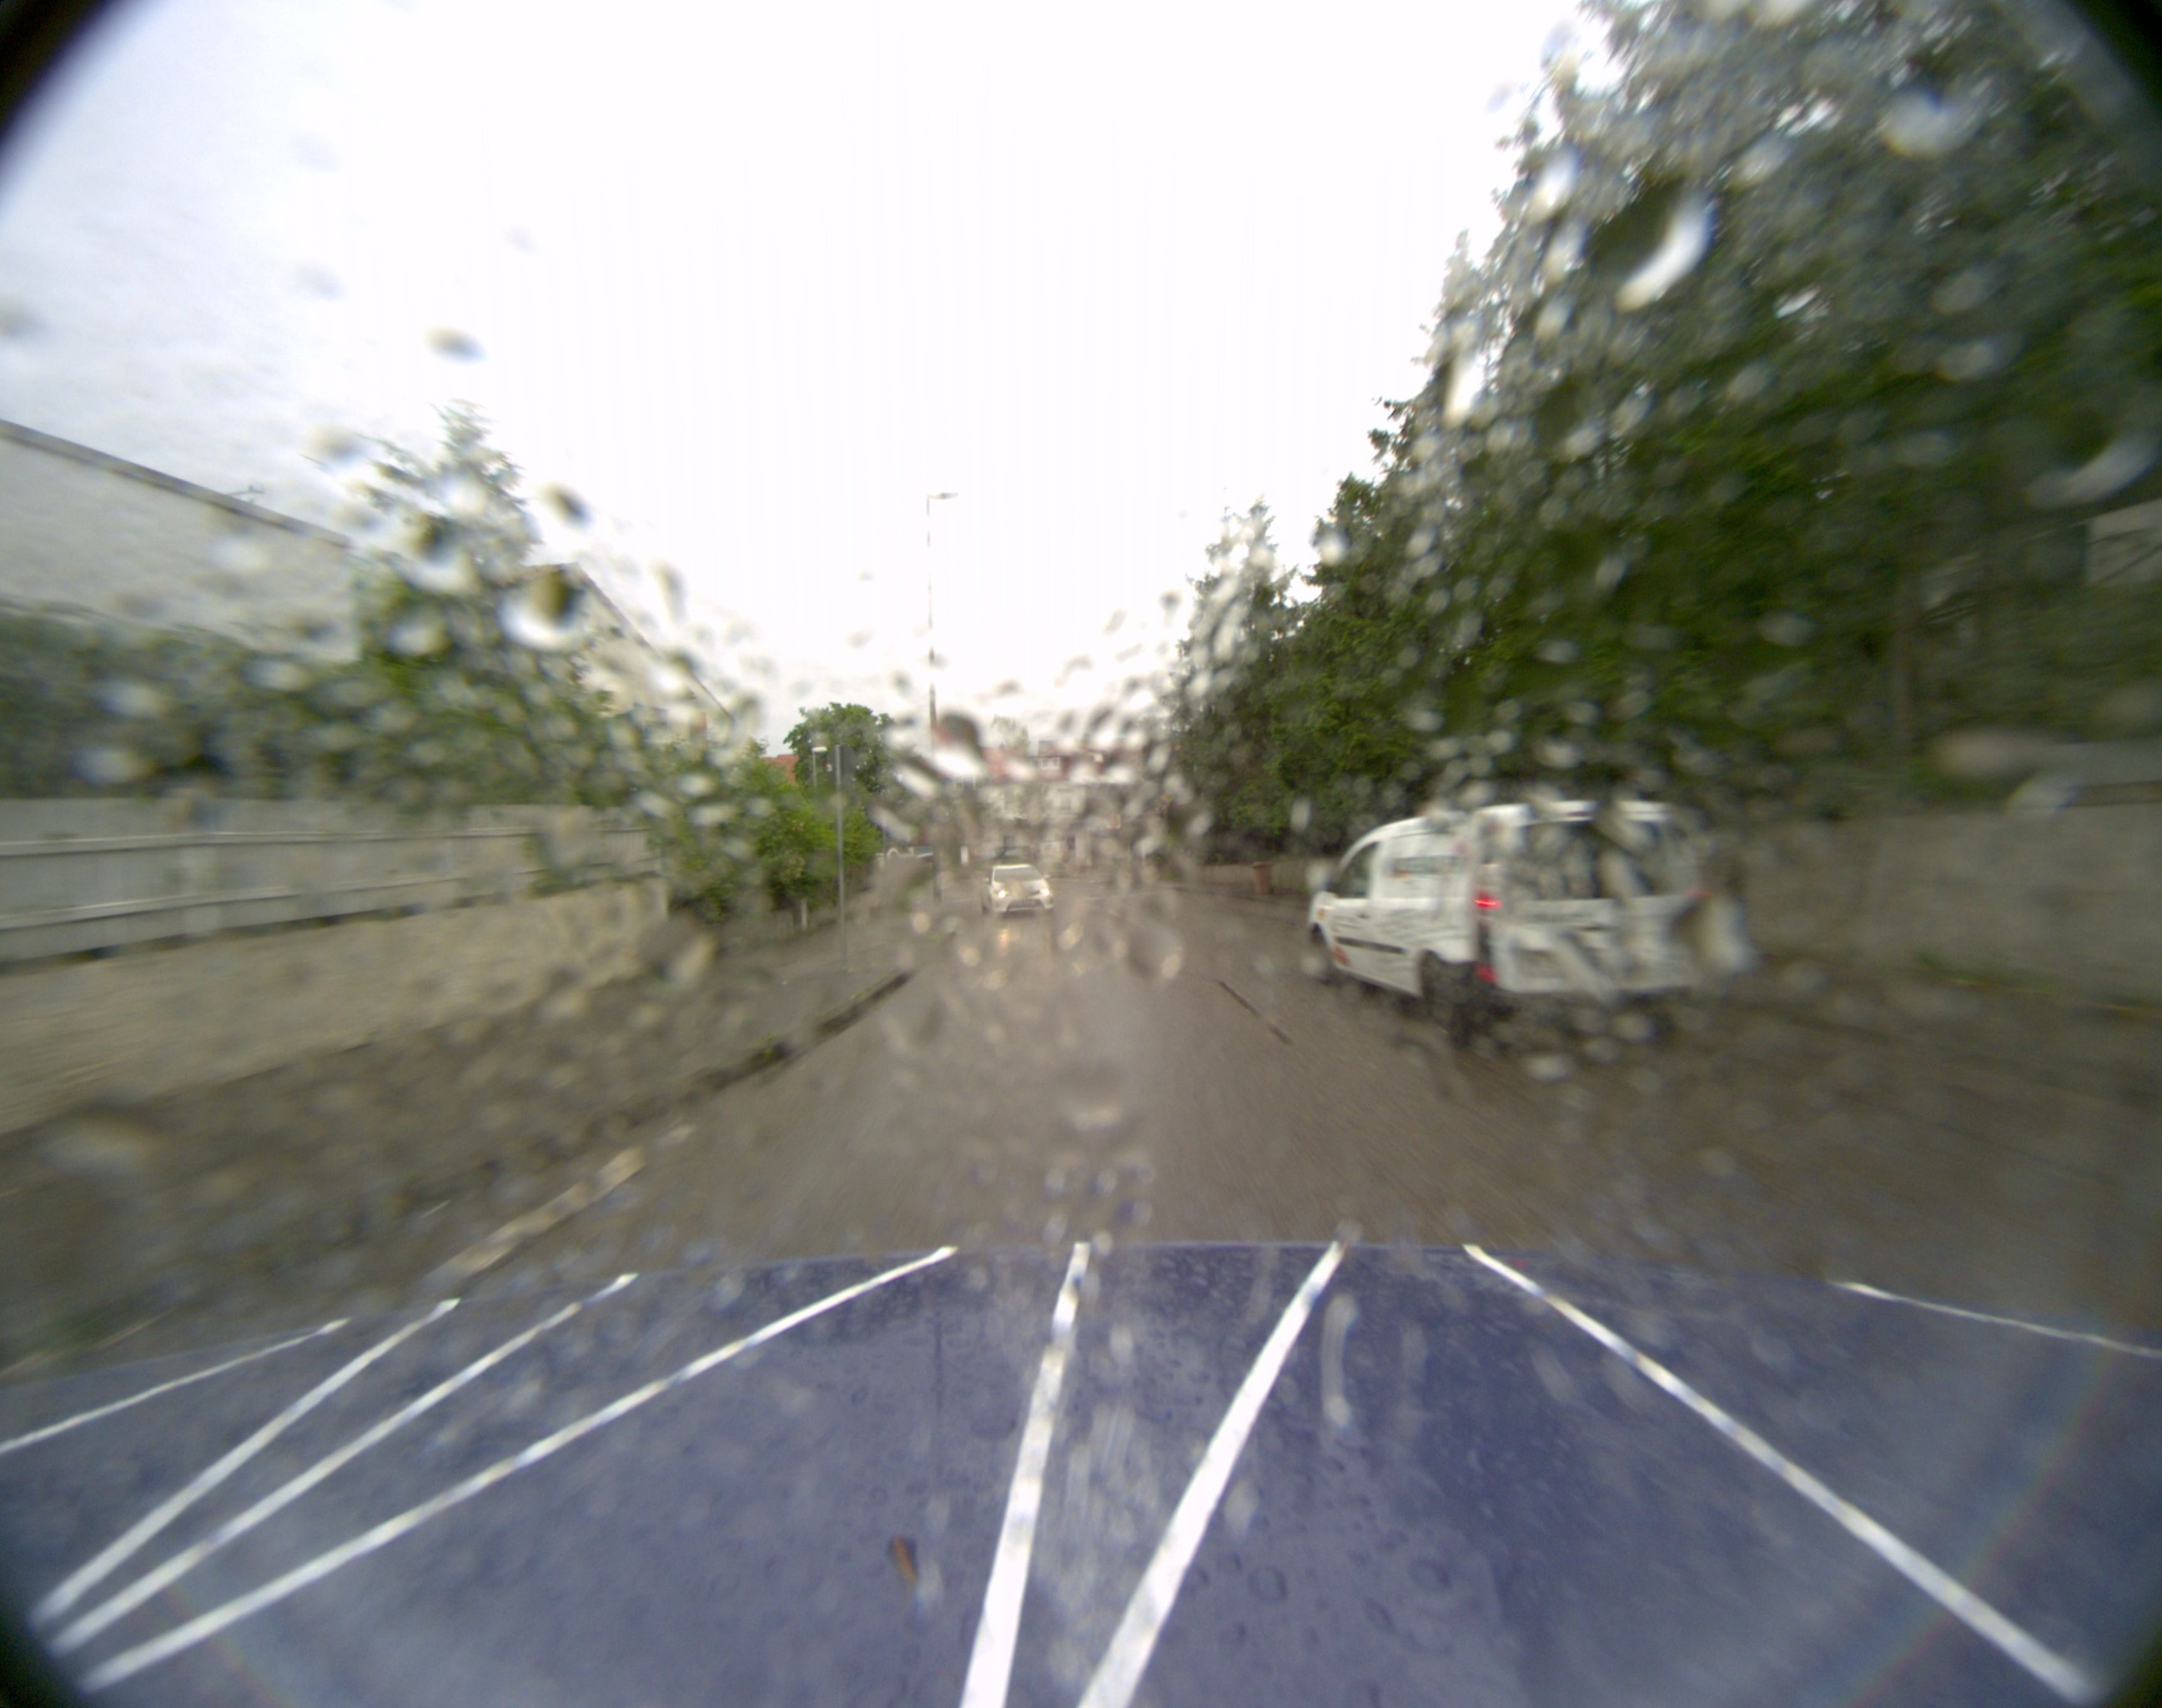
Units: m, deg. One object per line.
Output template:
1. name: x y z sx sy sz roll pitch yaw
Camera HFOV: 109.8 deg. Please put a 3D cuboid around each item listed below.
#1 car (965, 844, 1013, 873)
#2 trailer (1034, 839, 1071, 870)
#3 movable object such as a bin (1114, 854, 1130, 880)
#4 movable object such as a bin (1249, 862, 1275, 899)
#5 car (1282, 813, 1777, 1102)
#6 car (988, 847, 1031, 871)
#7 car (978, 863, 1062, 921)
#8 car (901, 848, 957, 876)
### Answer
1. car: -7.082 0.312 58.854 1.795 1.765 4.093 -4 4 21
2. trailer: -2.063 -0.023 56.520 1.951 2.091 3.962 -3 2 8
3. movable object such as a bin: 1.920 0.592 35.616 0.625 1.133 0.668 -5 3 1
4. movable object such as a bin: 5.172 0.753 21.702 0.501 0.973 0.490 -5 1 -8
5. car: 3.476 0.652 7.087 1.845 1.745 4.419 -3 0 -2
6. car: -5.330 0.371 57.235 1.836 1.477 3.348 -4 3 20
7. car: -1.898 1.044 22.518 1.861 1.427 4.012 -4 1 -13
8. car: -12.242 0.629 61.456 1.995 1.790 4.125 -3 3 32
